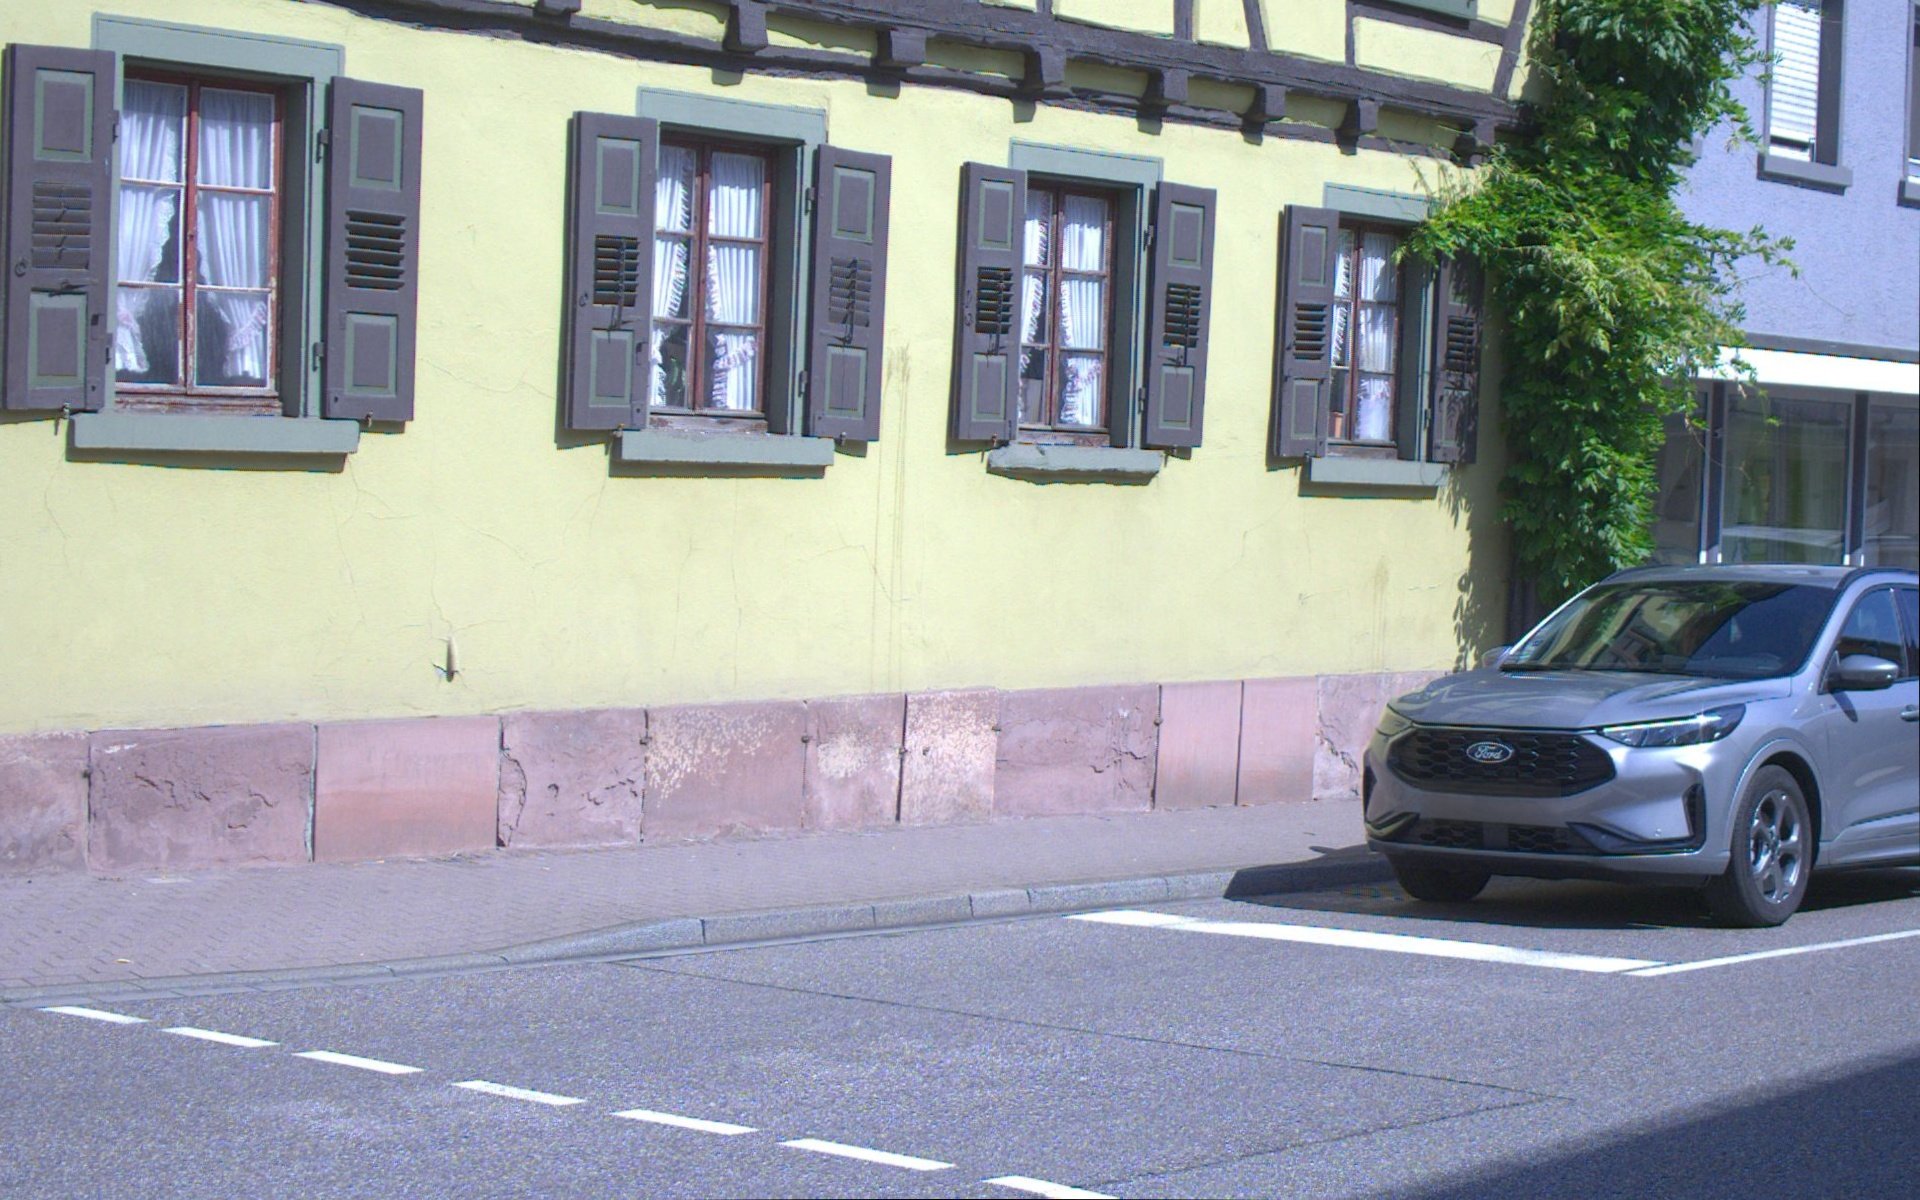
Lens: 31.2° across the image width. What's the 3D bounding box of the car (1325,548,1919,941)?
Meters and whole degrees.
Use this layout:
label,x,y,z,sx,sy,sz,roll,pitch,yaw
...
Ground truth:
label,x,y,z,sx,sy,sz,roll,pitch,yaw
car,3.735,0.601,16.372,1.759,1.604,4.418,1,0,41
